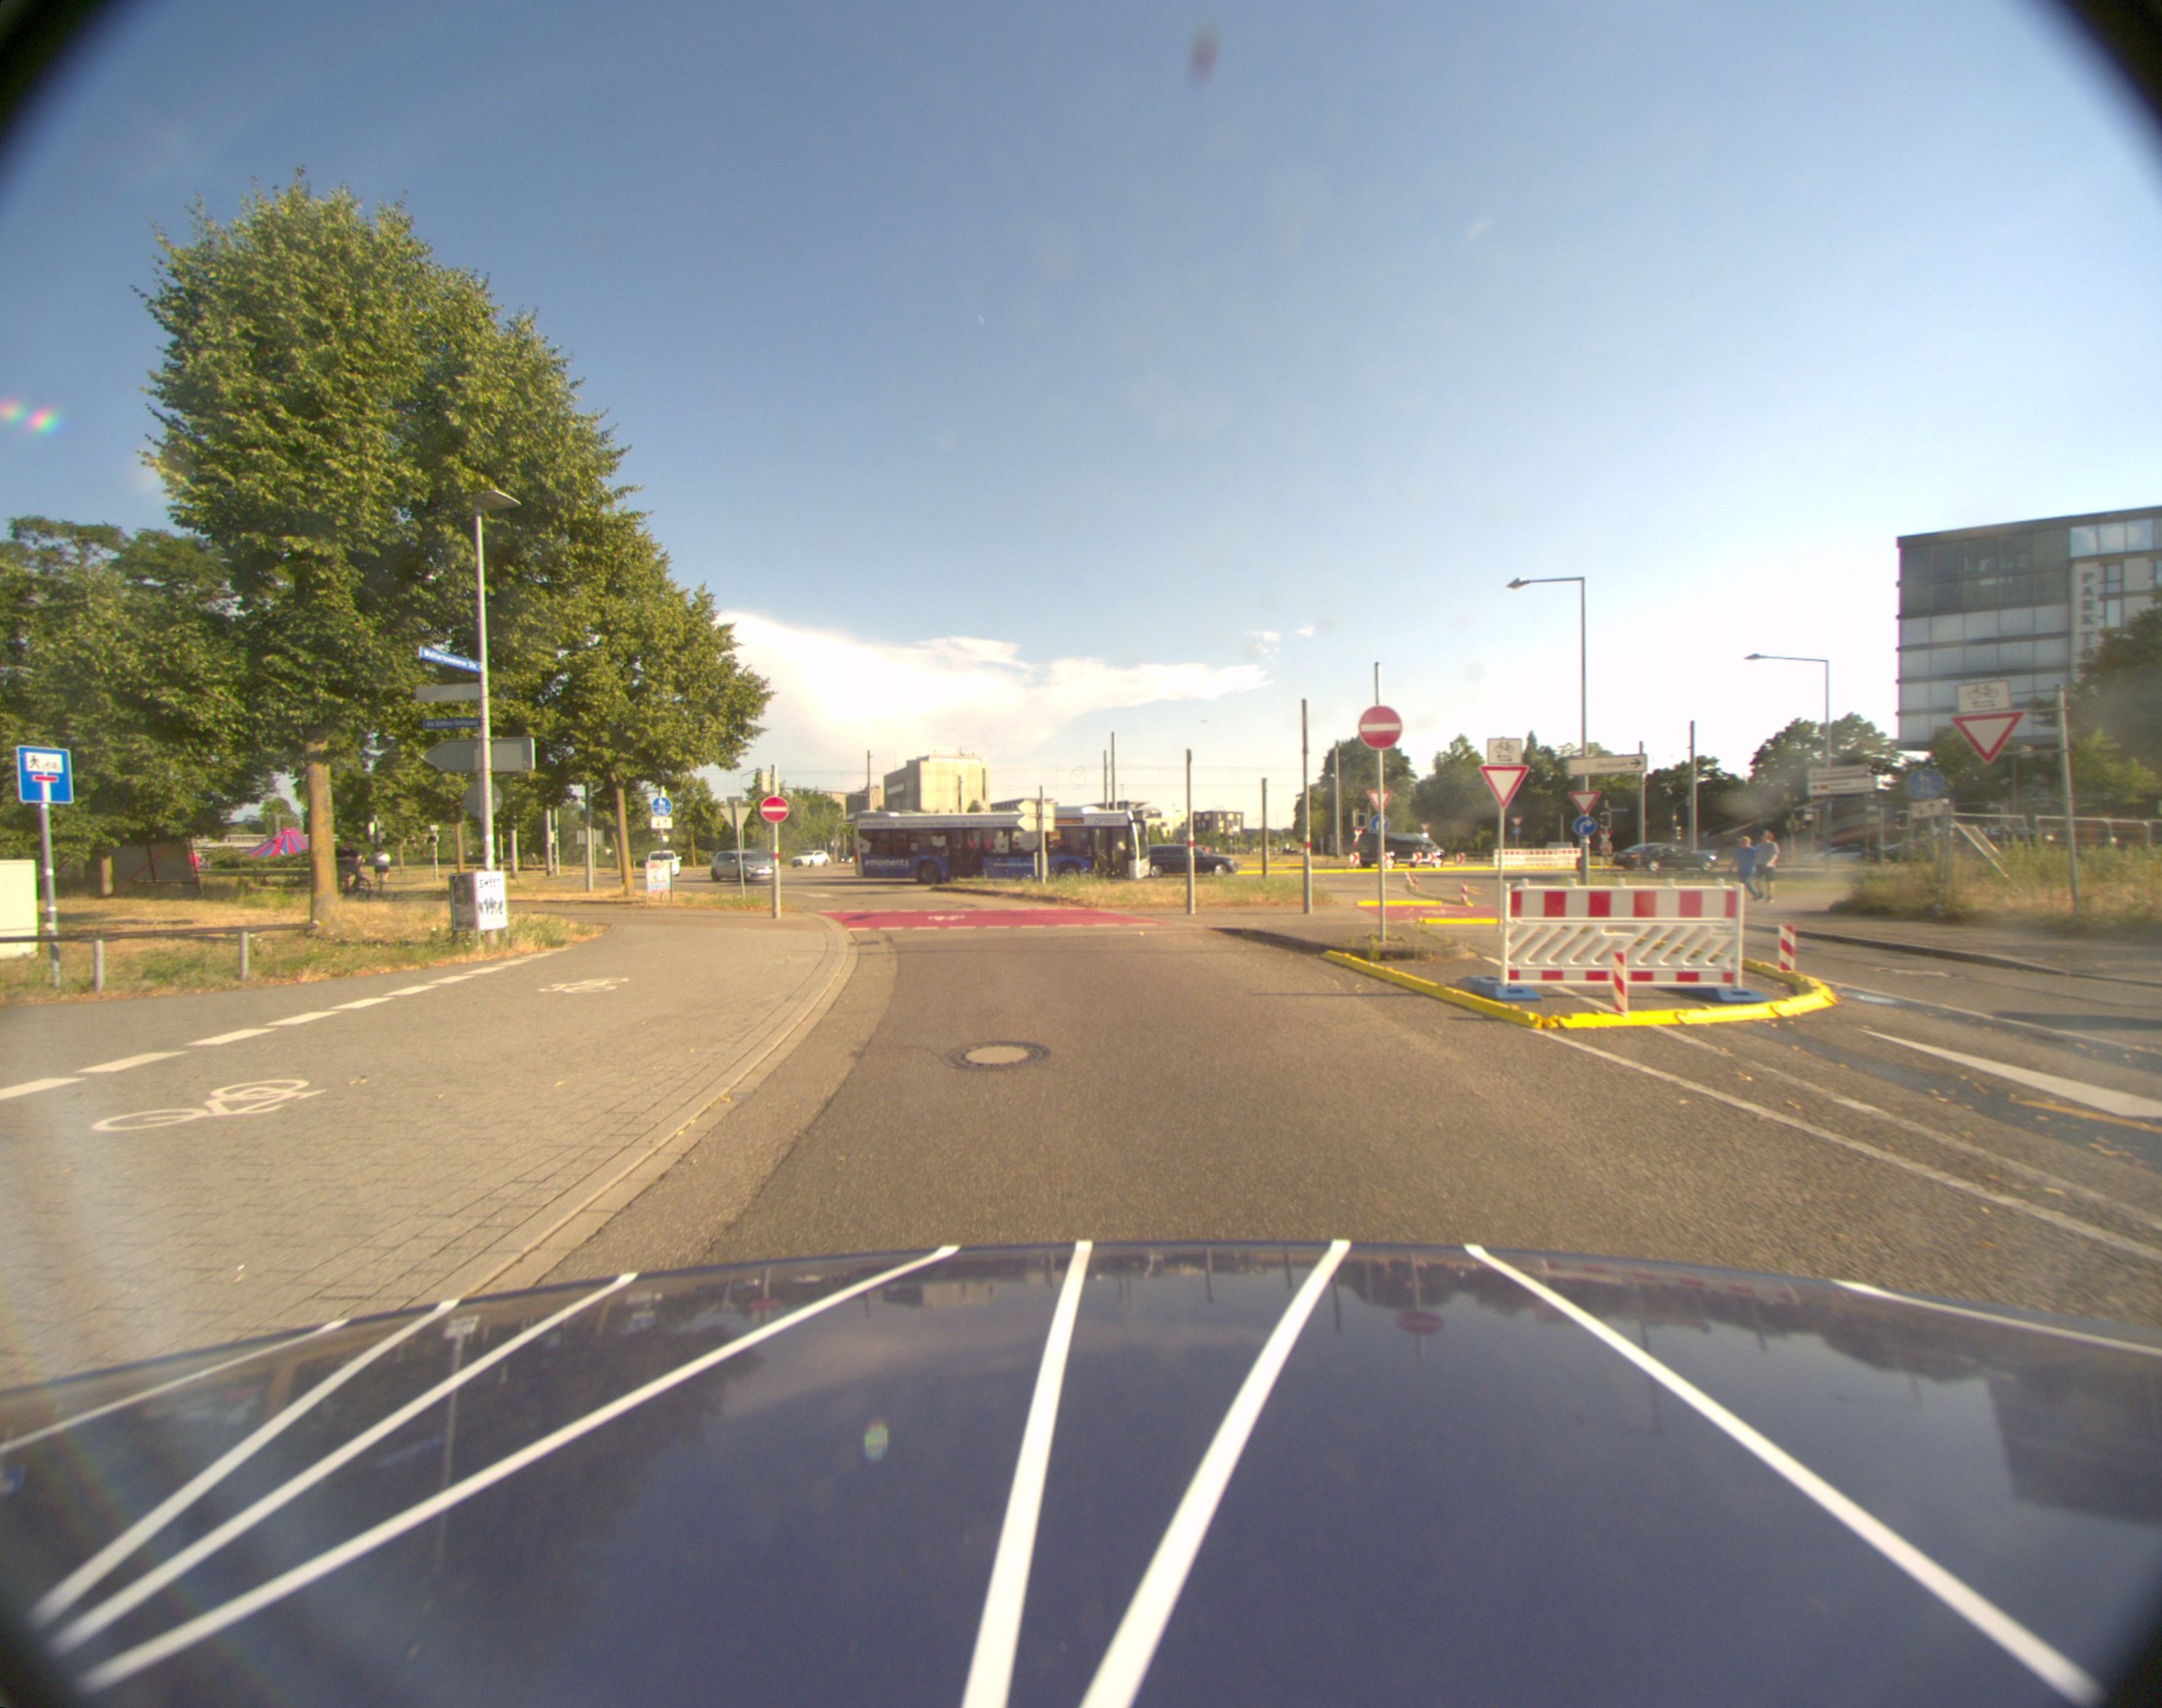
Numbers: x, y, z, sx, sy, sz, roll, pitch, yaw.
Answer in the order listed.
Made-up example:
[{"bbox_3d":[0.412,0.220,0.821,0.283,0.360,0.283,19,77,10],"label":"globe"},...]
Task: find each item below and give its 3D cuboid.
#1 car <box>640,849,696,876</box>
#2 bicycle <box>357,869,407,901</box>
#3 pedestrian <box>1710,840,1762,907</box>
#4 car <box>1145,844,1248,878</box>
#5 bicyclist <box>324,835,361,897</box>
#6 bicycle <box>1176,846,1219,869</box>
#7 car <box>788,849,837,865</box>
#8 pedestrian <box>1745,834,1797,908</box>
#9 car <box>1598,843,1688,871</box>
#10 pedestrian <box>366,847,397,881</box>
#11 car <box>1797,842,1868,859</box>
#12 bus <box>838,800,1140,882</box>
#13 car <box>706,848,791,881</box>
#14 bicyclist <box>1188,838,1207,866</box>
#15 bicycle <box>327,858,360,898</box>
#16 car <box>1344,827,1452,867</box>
[{"bbox_3d":[-25.400,0.496,46.847,1.913,1.542,4.043,-1,0,-12],"label":"car"},{"bbox_3d":[-29.083,1.267,31.646,0.534,1.050,1.910,6,4,-11],"label":"bicycle"},{"bbox_3d":[16.839,0.485,19.546,0.814,1.699,0.784,-1,1,-29],"label":"pedestrian"},{"bbox_3d":[5.105,0.287,34.068,4.383,1.428,1.811,-1,1,2],"label":"car"},{"bbox_3d":[-21.989,0.345,22.623,0.935,1.790,0.730,0,2,44],"label":"bicyclist"},{"bbox_3d":[6.006,0.165,39.178,2.031,1.177,0.820,-1,1,-5],"label":"bicycle"},{"bbox_3d":[-24.659,0.290,70.005,2.091,1.376,4.593,-1,1,12],"label":"car"},{"bbox_3d":[16.964,0.406,18.678,0.773,1.765,0.758,-1,1,-32],"label":"pedestrian"},{"bbox_3d":[29.939,0.128,40.456,4.706,1.398,1.839,-1,1,-25],"label":"car"},{"bbox_3d":[-29.035,0.420,31.552,0.653,1.383,0.766,1,0,-11],"label":"pedestrian"},{"bbox_3d":[57.277,-0.259,57.996,3.495,1.232,1.661,0,1,24],"label":"car"},{"bbox_3d":[-3.841,-0.445,31.308,12.155,3.044,2.669,-1,1,14],"label":"bus"},{"bbox_3d":[-15.993,0.463,36.506,3.988,1.515,2.004,0,1,37],"label":"car"},{"bbox_3d":[6.029,-0.121,39.277,0.772,1.377,0.883,-2,3,-4],"label":"bicyclist"},{"bbox_3d":[-21.902,0.695,22.551,2.119,1.116,0.642,0,1,45],"label":"bicycle"},{"bbox_3d":[17.205,-0.383,41.279,5.247,2.035,2.092,-1,1,-15],"label":"car"}]
